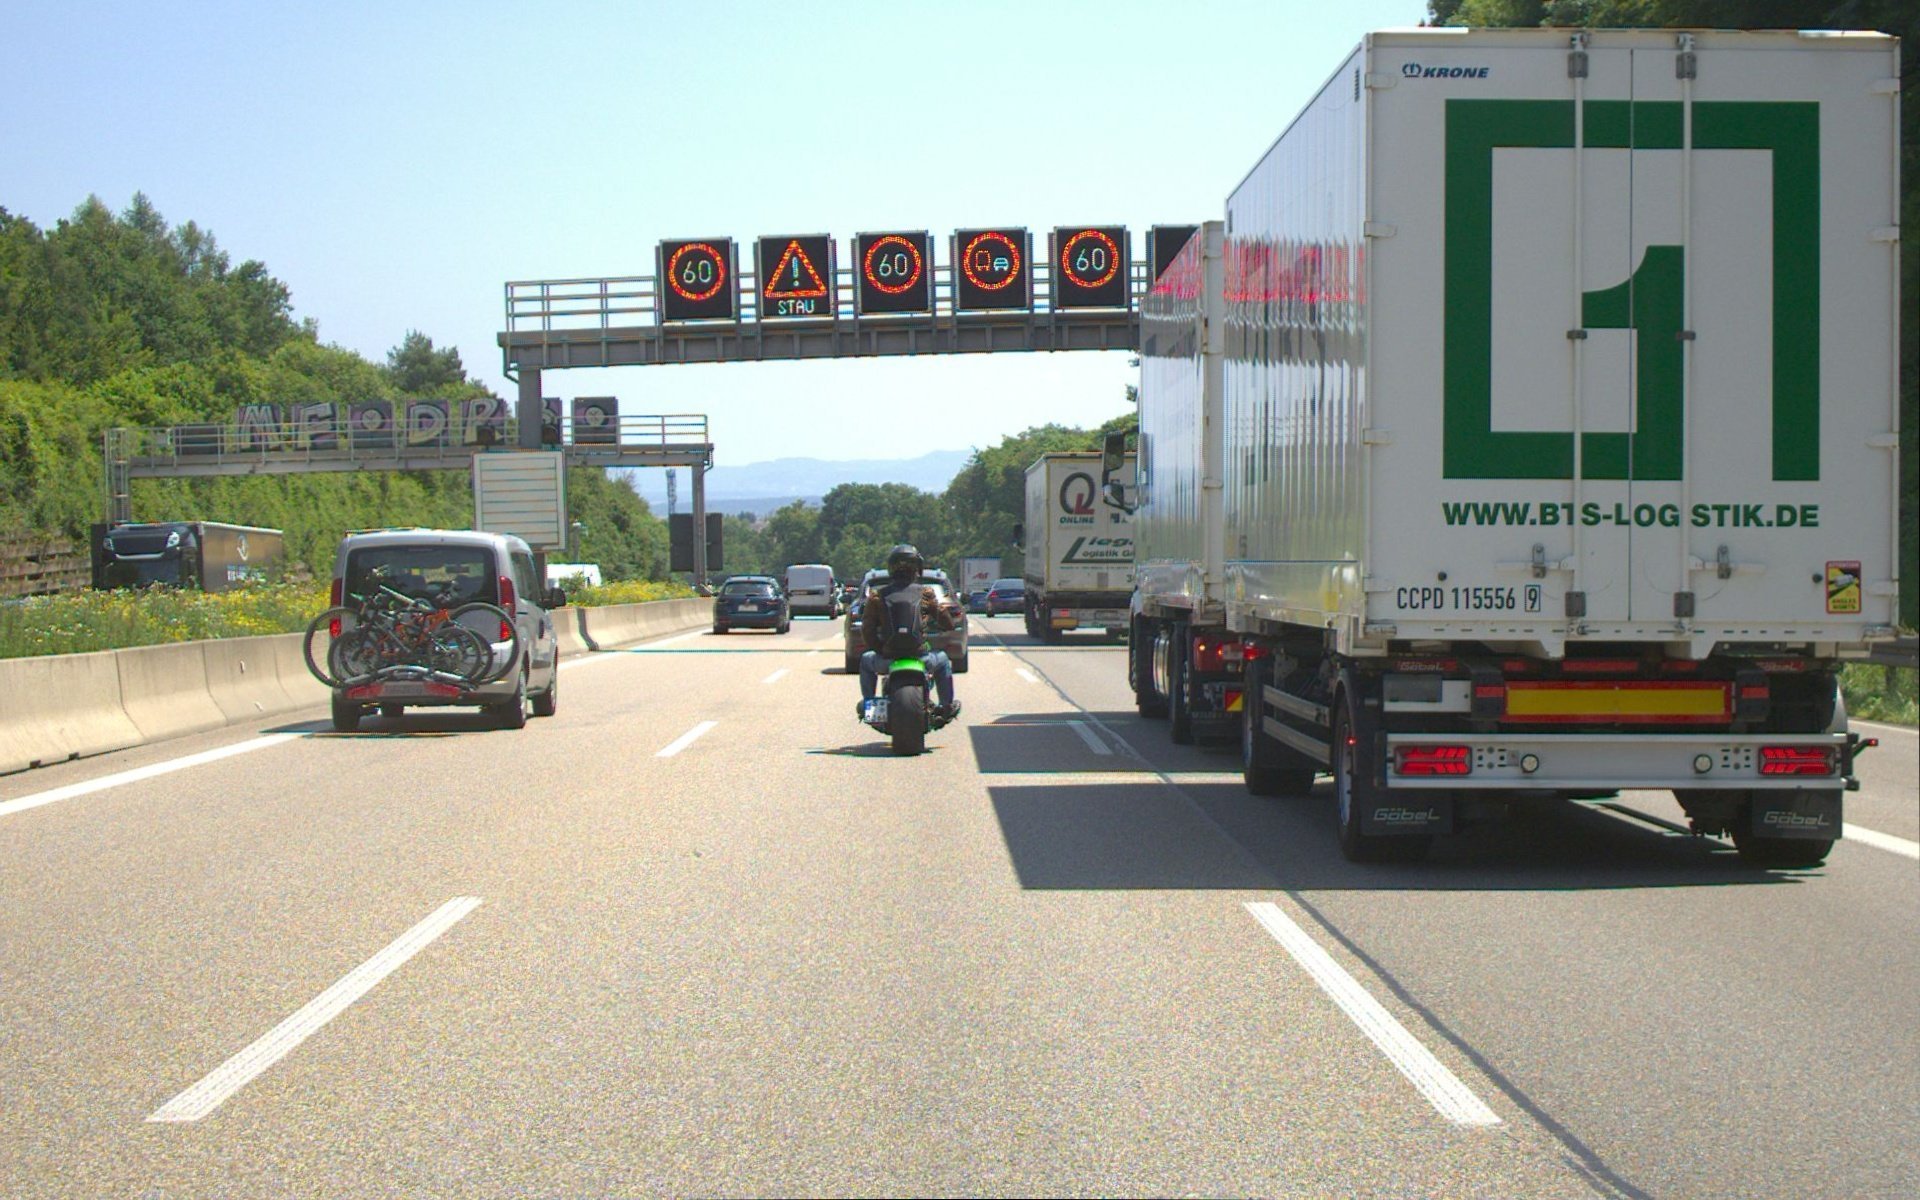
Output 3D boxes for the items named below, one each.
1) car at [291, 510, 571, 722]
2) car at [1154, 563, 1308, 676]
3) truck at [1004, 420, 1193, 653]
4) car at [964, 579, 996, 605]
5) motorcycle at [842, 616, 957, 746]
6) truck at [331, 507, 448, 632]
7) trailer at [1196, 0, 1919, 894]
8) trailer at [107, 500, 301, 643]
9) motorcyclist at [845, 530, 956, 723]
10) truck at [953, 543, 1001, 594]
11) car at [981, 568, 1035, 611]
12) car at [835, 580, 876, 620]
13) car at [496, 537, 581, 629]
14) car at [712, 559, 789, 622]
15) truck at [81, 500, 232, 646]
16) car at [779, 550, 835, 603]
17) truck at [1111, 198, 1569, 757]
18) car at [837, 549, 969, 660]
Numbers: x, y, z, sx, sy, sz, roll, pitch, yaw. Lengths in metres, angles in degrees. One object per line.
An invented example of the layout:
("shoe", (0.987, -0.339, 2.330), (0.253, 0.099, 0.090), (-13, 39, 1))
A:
("car", (-4.900, 0.134, 32.571), (1.898, 1.841, 5.483), (0, 0, -1))
("car", (3.928, 0.248, 50.507), (1.845, 1.552, 4.392), (0, 1, -1))
("truck", (2.949, -1.392, 79.368), (3.383, 4.702, 17.709), (1, 1, -1))
("car", (1.221, -0.503, 208.043), (1.831, 1.521, 4.027), (0, 1, -1))
("motorcycle", (-0.467, 0.626, 27.394), (0.862, 0.978, 2.130), (0, 0, 0))
("truck", (-20.157, -1.084, 121.766), (2.951, 4.188, 6.458), (-3, 1, -1))
("trailer", (3.124, -0.868, 19.812), (2.680, 4.161, 10.066), (0, 1, -1))
("trailer", (-23.698, -0.910, 108.614), (2.978, 4.087, 13.995), (-3, 1, -1))
("motorcyclist", (-0.470, 0.208, 27.408), (0.856, 1.510, 0.914), (0, 0, 0))
("truck", (1.123, -2.166, 234.807), (3.067, 3.335, 9.652), (1, 1, -1))
("car", (1.743, -0.388, 125.262), (1.831, 1.521, 4.027), (0, 1, -1))
("car", (-4.852, -0.022, 159.856), (1.831, 1.804, 4.120), (0, 1, -1))
("car", (-12.864, -0.548, 105.174), (1.998, 2.664, 4.846), (-2, 1, -1))
("car", (-5.273, -0.254, 86.959), (1.758, 1.538, 4.395), (0, 1, -1))
("truck", (-23.587, -0.800, 101.231), (2.934, 4.045, 5.868), (-3, 1, -1))
("car", (-5.271, -0.828, 118.758), (1.831, 1.804, 4.120), (0, 1, -1))
("truck", (2.982, -0.939, 30.200), (2.680, 4.046, 10.626), (0, 1, -1))
("car", (-0.831, 0.030, 50.275), (1.845, 1.552, 4.439), (0, 1, -1))
